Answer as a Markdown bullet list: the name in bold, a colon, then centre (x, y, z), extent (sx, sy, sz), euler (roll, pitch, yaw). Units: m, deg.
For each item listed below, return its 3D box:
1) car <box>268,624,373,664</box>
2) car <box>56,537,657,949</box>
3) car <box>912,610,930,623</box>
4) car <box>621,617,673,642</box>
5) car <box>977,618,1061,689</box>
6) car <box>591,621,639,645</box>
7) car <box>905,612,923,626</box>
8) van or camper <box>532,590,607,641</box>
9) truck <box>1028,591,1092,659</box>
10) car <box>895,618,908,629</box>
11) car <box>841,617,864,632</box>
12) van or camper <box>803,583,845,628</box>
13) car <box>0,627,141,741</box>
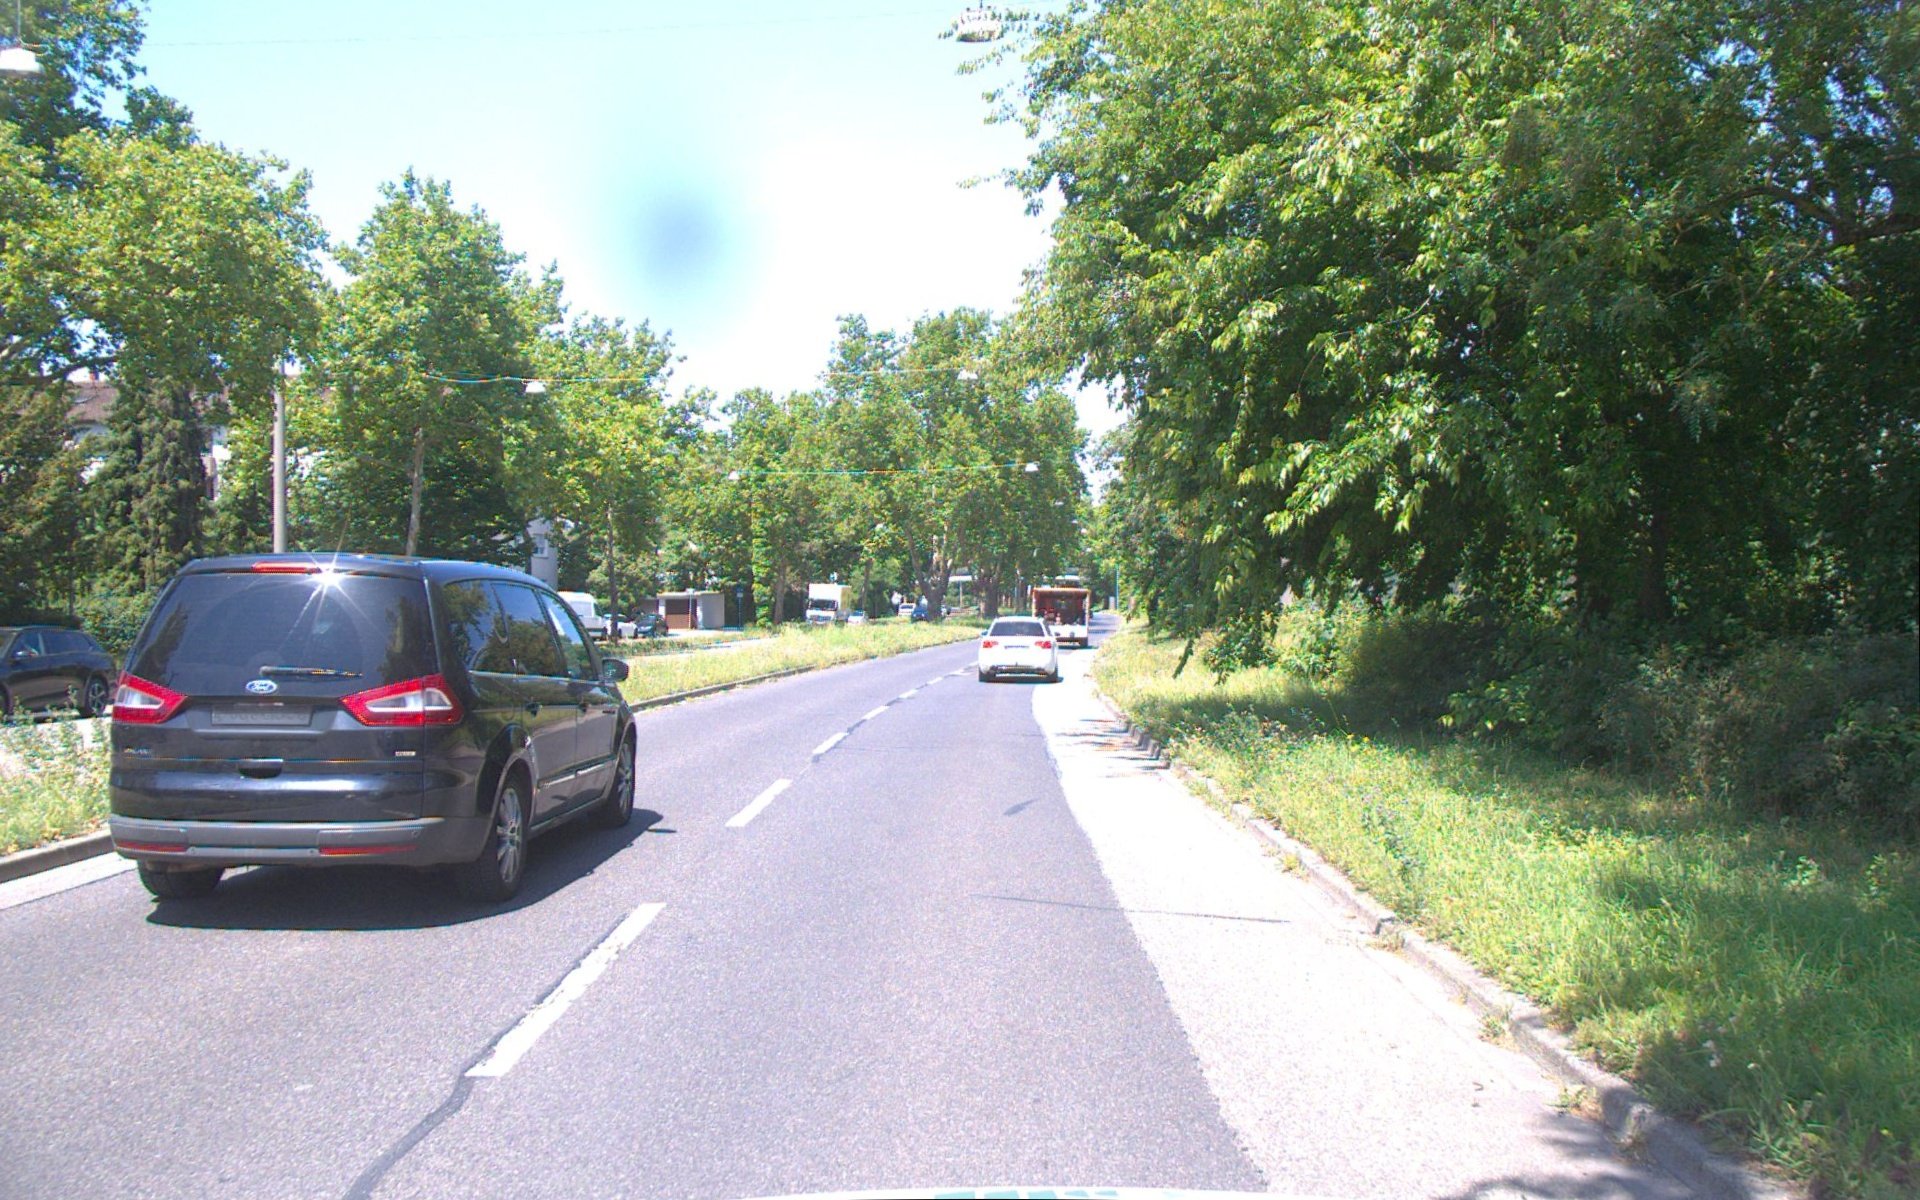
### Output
- **car**: centre (-24.786, 1.693, 64.268), extent (1.841, 1.417, 4.003), euler (-1, 0, 14)
- **car**: centre (-3.048, 0.633, 9.527), extent (1.816, 1.786, 4.647), euler (0, 0, -1)
- **car**: centre (-3.999, 1.701, 169.462), extent (1.736, 1.355, 3.658), euler (-1, 0, -3)
- **car**: centre (-19.147, 1.813, 101.196), extent (1.789, 1.415, 3.950), euler (-1, 0, 10)
- **car**: centre (1.380, 1.167, 37.364), extent (1.725, 1.471, 3.617), euler (1, -1, 4)
- **car**: centre (-19.912, 1.887, 95.579), extent (1.657, 1.306, 3.805), euler (-1, 0, 6)
- **car**: centre (-4.736, 1.965, 169.472), extent (1.736, 1.355, 3.658), euler (-1, 0, -3)
- **van or camper**: centre (-20.973, 0.814, 89.113), extent (2.136, 2.633, 5.313), euler (-1, 0, 8)
- **truck**: centre (4.188, 0.960, 68.881), extent (2.458, 2.604, 7.607), euler (1, 0, 4)
- **car**: centre (-6.572, 2.685, 186.999), extent (1.430, 1.231, 3.424), euler (0, -1, -3)
- **car**: centre (-9.401, 2.132, 144.577), extent (1.876, 1.231, 4.332), euler (-1, 0, -3)
- **van or camper**: centre (-10.622, 0.438, 129.505), extent (2.605, 3.389, 5.501), euler (-1, 0, 2)
- **car**: centre (-14.327, 1.226, 24.719), extent (1.775, 1.533, 4.594), euler (-1, 0, 2)
